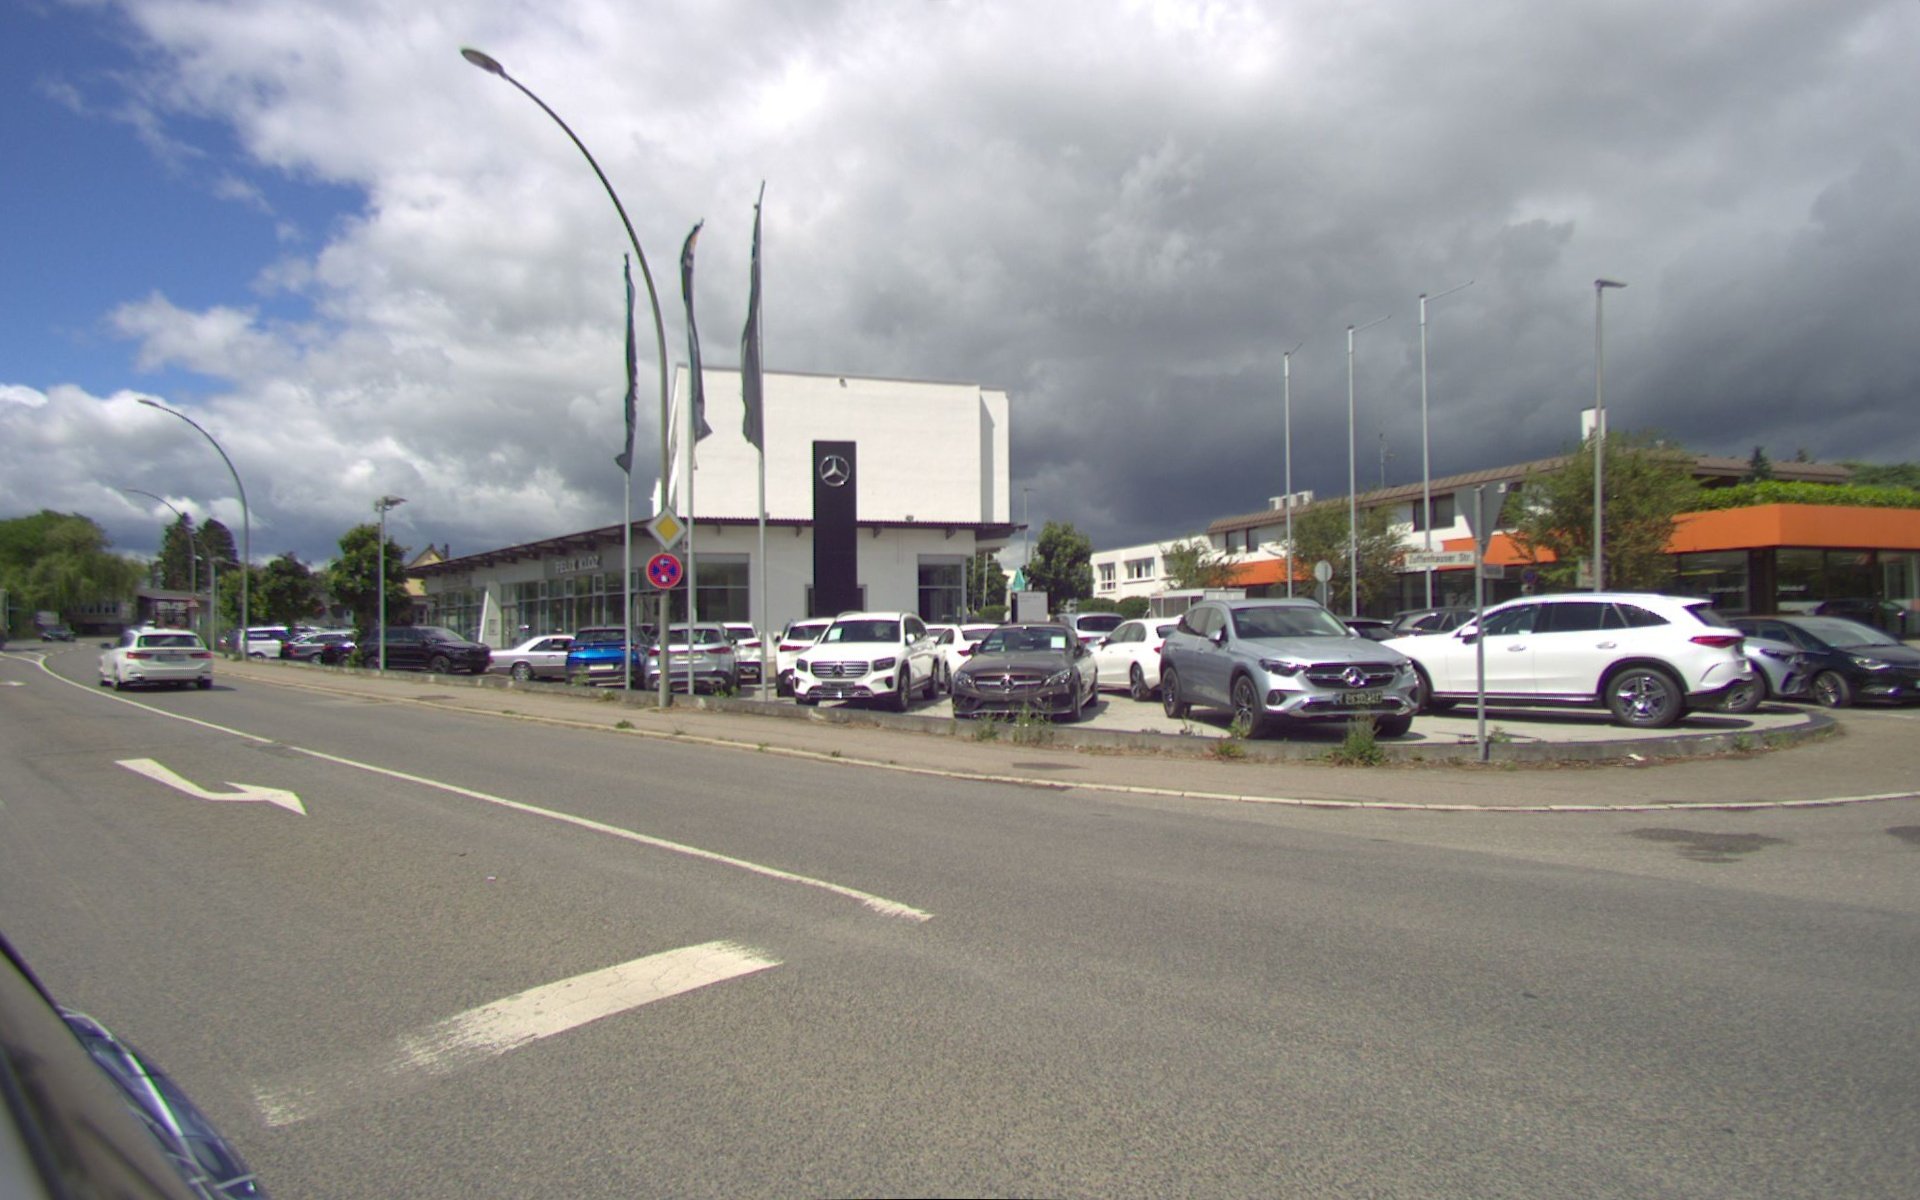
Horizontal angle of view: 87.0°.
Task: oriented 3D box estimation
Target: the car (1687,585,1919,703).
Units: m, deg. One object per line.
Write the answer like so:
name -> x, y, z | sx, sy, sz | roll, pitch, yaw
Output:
car -> 15.955, 0.756, 18.506 | 1.926, 1.890, 4.125 | 0, -1, -9

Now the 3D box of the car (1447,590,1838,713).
car -> 10.280, 0.764, 15.518 | 4.763, 1.614, 1.778 | -2, -3, 42

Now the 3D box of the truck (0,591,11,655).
truck -> -57.846, 1.334, 58.733 | 2.859, 3.797, 9.656 | 1, -2, -37

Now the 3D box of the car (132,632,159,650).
car -> -94.194, 4.781, 117.107 | 1.922, 2.029, 4.011 | 1, -2, -31

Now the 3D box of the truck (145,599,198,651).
truck -> -74.438, 2.322, 95.690 | 2.932, 4.697, 8.203 | 1, -2, -31

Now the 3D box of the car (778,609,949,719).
car -> -1.540, 1.045, 17.845 | 1.916, 1.690, 4.285 | -1, -1, 10

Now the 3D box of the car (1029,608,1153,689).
car -> 2.930, 1.084, 23.618 | 1.839, 1.629, 4.439 | -2, -1, -6

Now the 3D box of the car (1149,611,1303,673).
car -> 7.315, 1.158, 28.216 | 3.955, 1.641, 1.842 | -1, -2, 10

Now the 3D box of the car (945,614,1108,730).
car -> 1.166, 0.998, 15.466 | 1.779, 1.477, 4.311 | -3, -2, 13

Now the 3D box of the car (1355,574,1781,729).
car -> 7.973, 0.636, 13.567 | 4.599, 1.734, 1.910 | -2, -2, 42

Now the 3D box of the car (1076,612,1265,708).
car -> 3.675, 1.033, 18.638 | 1.838, 1.478, 4.568 | -2, -1, -9

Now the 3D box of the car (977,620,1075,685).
car -> 1.771, 1.436, 28.400 | 1.775, 1.637, 3.963 | -1, -2, -10

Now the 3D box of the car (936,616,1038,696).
car -> 0.473, 1.149, 22.052 | 1.840, 1.478, 4.561 | -2, -1, -3

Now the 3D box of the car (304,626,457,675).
car -> -21.611, 1.881, 37.918 | 4.560, 1.637, 2.067 | -1, -2, -12

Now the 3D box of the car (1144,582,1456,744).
car -> 3.958, 0.690, 12.838 | 1.958, 1.617, 4.748 | -2, -1, -5

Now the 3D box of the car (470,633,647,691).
car -> -11.932, 1.833, 30.243 | 4.536, 1.400, 1.803 | -3, 1, 2

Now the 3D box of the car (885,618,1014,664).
car -> -0.410, 1.497, 38.010 | 4.506, 1.602, 1.933 | 0, 0, -16

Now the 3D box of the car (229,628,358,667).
car -> -32.354, 2.309, 49.291 | 4.879, 1.852, 1.897 | 0, -2, -10

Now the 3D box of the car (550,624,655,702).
car -> -8.804, 1.484, 25.285 | 1.863, 1.681, 4.582 | -2, -1, -12

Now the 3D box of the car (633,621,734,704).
car -> -6.023, 1.314, 22.459 | 1.843, 1.578, 4.531 | -2, -2, -12

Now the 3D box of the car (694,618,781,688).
car -> -5.928, 1.361, 26.659 | 1.773, 1.637, 3.967 | -1, -2, -19

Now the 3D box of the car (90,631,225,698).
car -> -19.539, 1.509, 24.577 | 4.428, 1.461, 1.971 | -2, -3, 44

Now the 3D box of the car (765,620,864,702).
car -> -3.347, 1.303, 22.597 | 1.843, 1.578, 4.531 | -2, -2, -12

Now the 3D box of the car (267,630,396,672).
car -> -27.342, 2.206, 44.170 | 4.433, 1.637, 1.808 | -1, -3, -13

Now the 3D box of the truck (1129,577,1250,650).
truck -> 11.457, 0.729, 51.424 | 2.405, 3.449, 7.843 | 0, -1, -17

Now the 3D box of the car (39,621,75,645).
car -> -76.532, 2.803, 85.832 | 1.924, 2.029, 4.009 | 1, -2, -37

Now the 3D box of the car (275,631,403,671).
car -> -24.417, 1.985, 39.897 | 3.893, 1.506, 1.807 | 0, -2, -7

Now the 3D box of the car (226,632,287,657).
car -> -45.975, 2.910, 66.129 | 3.214, 1.586, 1.585 | 2, -3, -37

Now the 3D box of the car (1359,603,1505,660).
car -> 16.457, 1.098, 35.547 | 1.801, 1.860, 4.689 | 0, -1, -20

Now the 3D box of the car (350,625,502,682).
car -> -17.435, 1.745, 33.079 | 4.314, 1.637, 1.795 | -2, 1, 16
